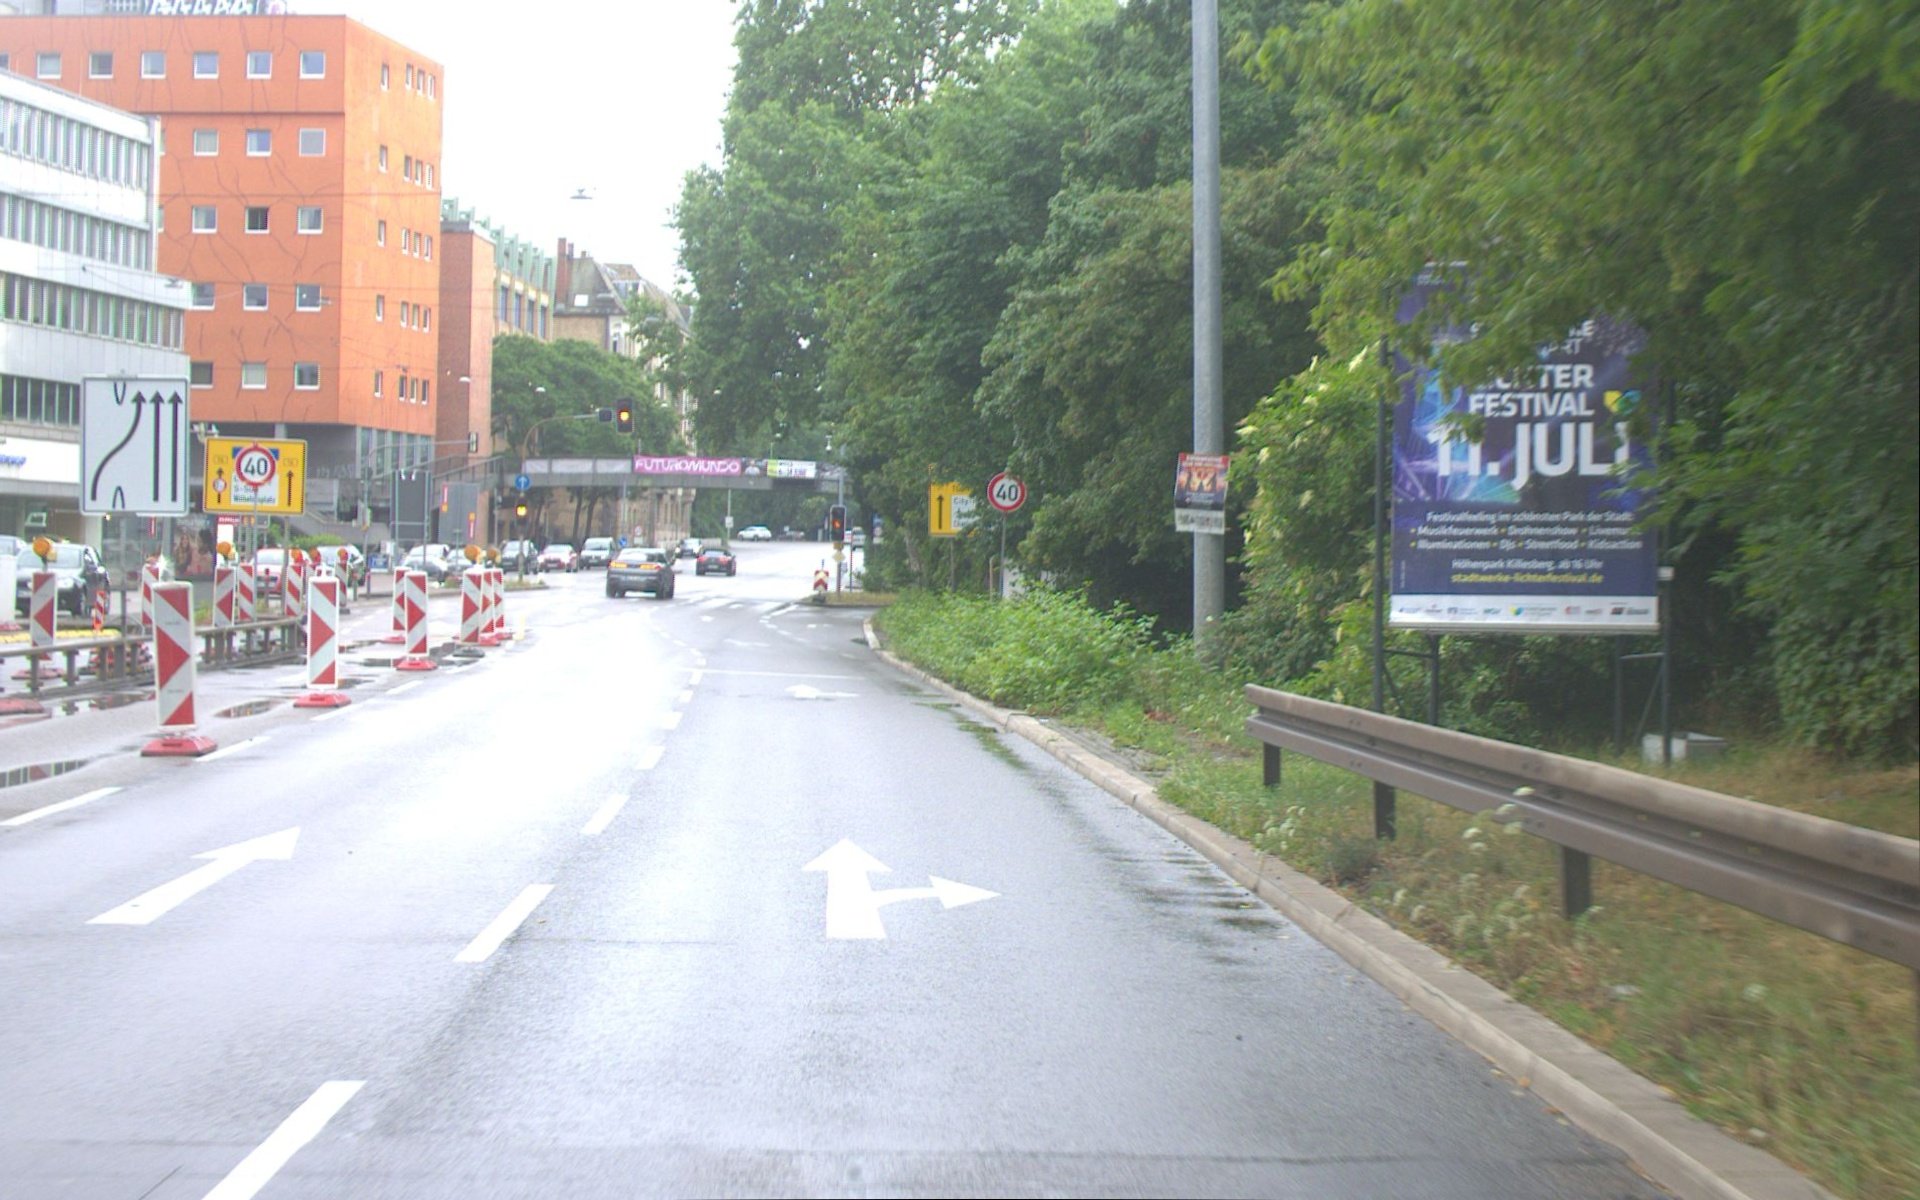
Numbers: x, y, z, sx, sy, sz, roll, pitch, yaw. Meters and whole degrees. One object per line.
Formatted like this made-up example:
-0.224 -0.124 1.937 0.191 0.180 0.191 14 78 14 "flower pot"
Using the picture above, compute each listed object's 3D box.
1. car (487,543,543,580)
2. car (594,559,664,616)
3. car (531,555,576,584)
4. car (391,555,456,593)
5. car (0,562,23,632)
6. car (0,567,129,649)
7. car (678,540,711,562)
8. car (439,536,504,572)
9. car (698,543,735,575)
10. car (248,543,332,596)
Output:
-21.577 -1.853 166.856 1.845 1.731 4.604 1 0 3 "car"
-11.467 -0.456 119.323 2.120 1.729 4.199 3 2 -3 "car"
-21.258 -1.596 179.975 1.829 1.497 4.373 0 0 0 "car"
-22.359 -1.082 143.455 1.808 1.553 4.300 1 0 3 "car"
-22.115 -0.064 76.335 1.710 1.531 4.078 0 1 -3 "car"
-17.927 0.127 68.333 1.959 1.516 4.300 1 1 -3 "car"
-18.691 -3.439 242.527 1.993 1.514 4.000 2 0 0 "car"
-18.886 -1.771 132.938 1.689 1.350 4.114 0 0 3 "car"
-12.769 -2.140 180.331 1.763 1.691 3.706 0 0 -1 "car"
-18.807 -0.860 96.662 1.735 1.399 4.290 2 0 -4 "car"
